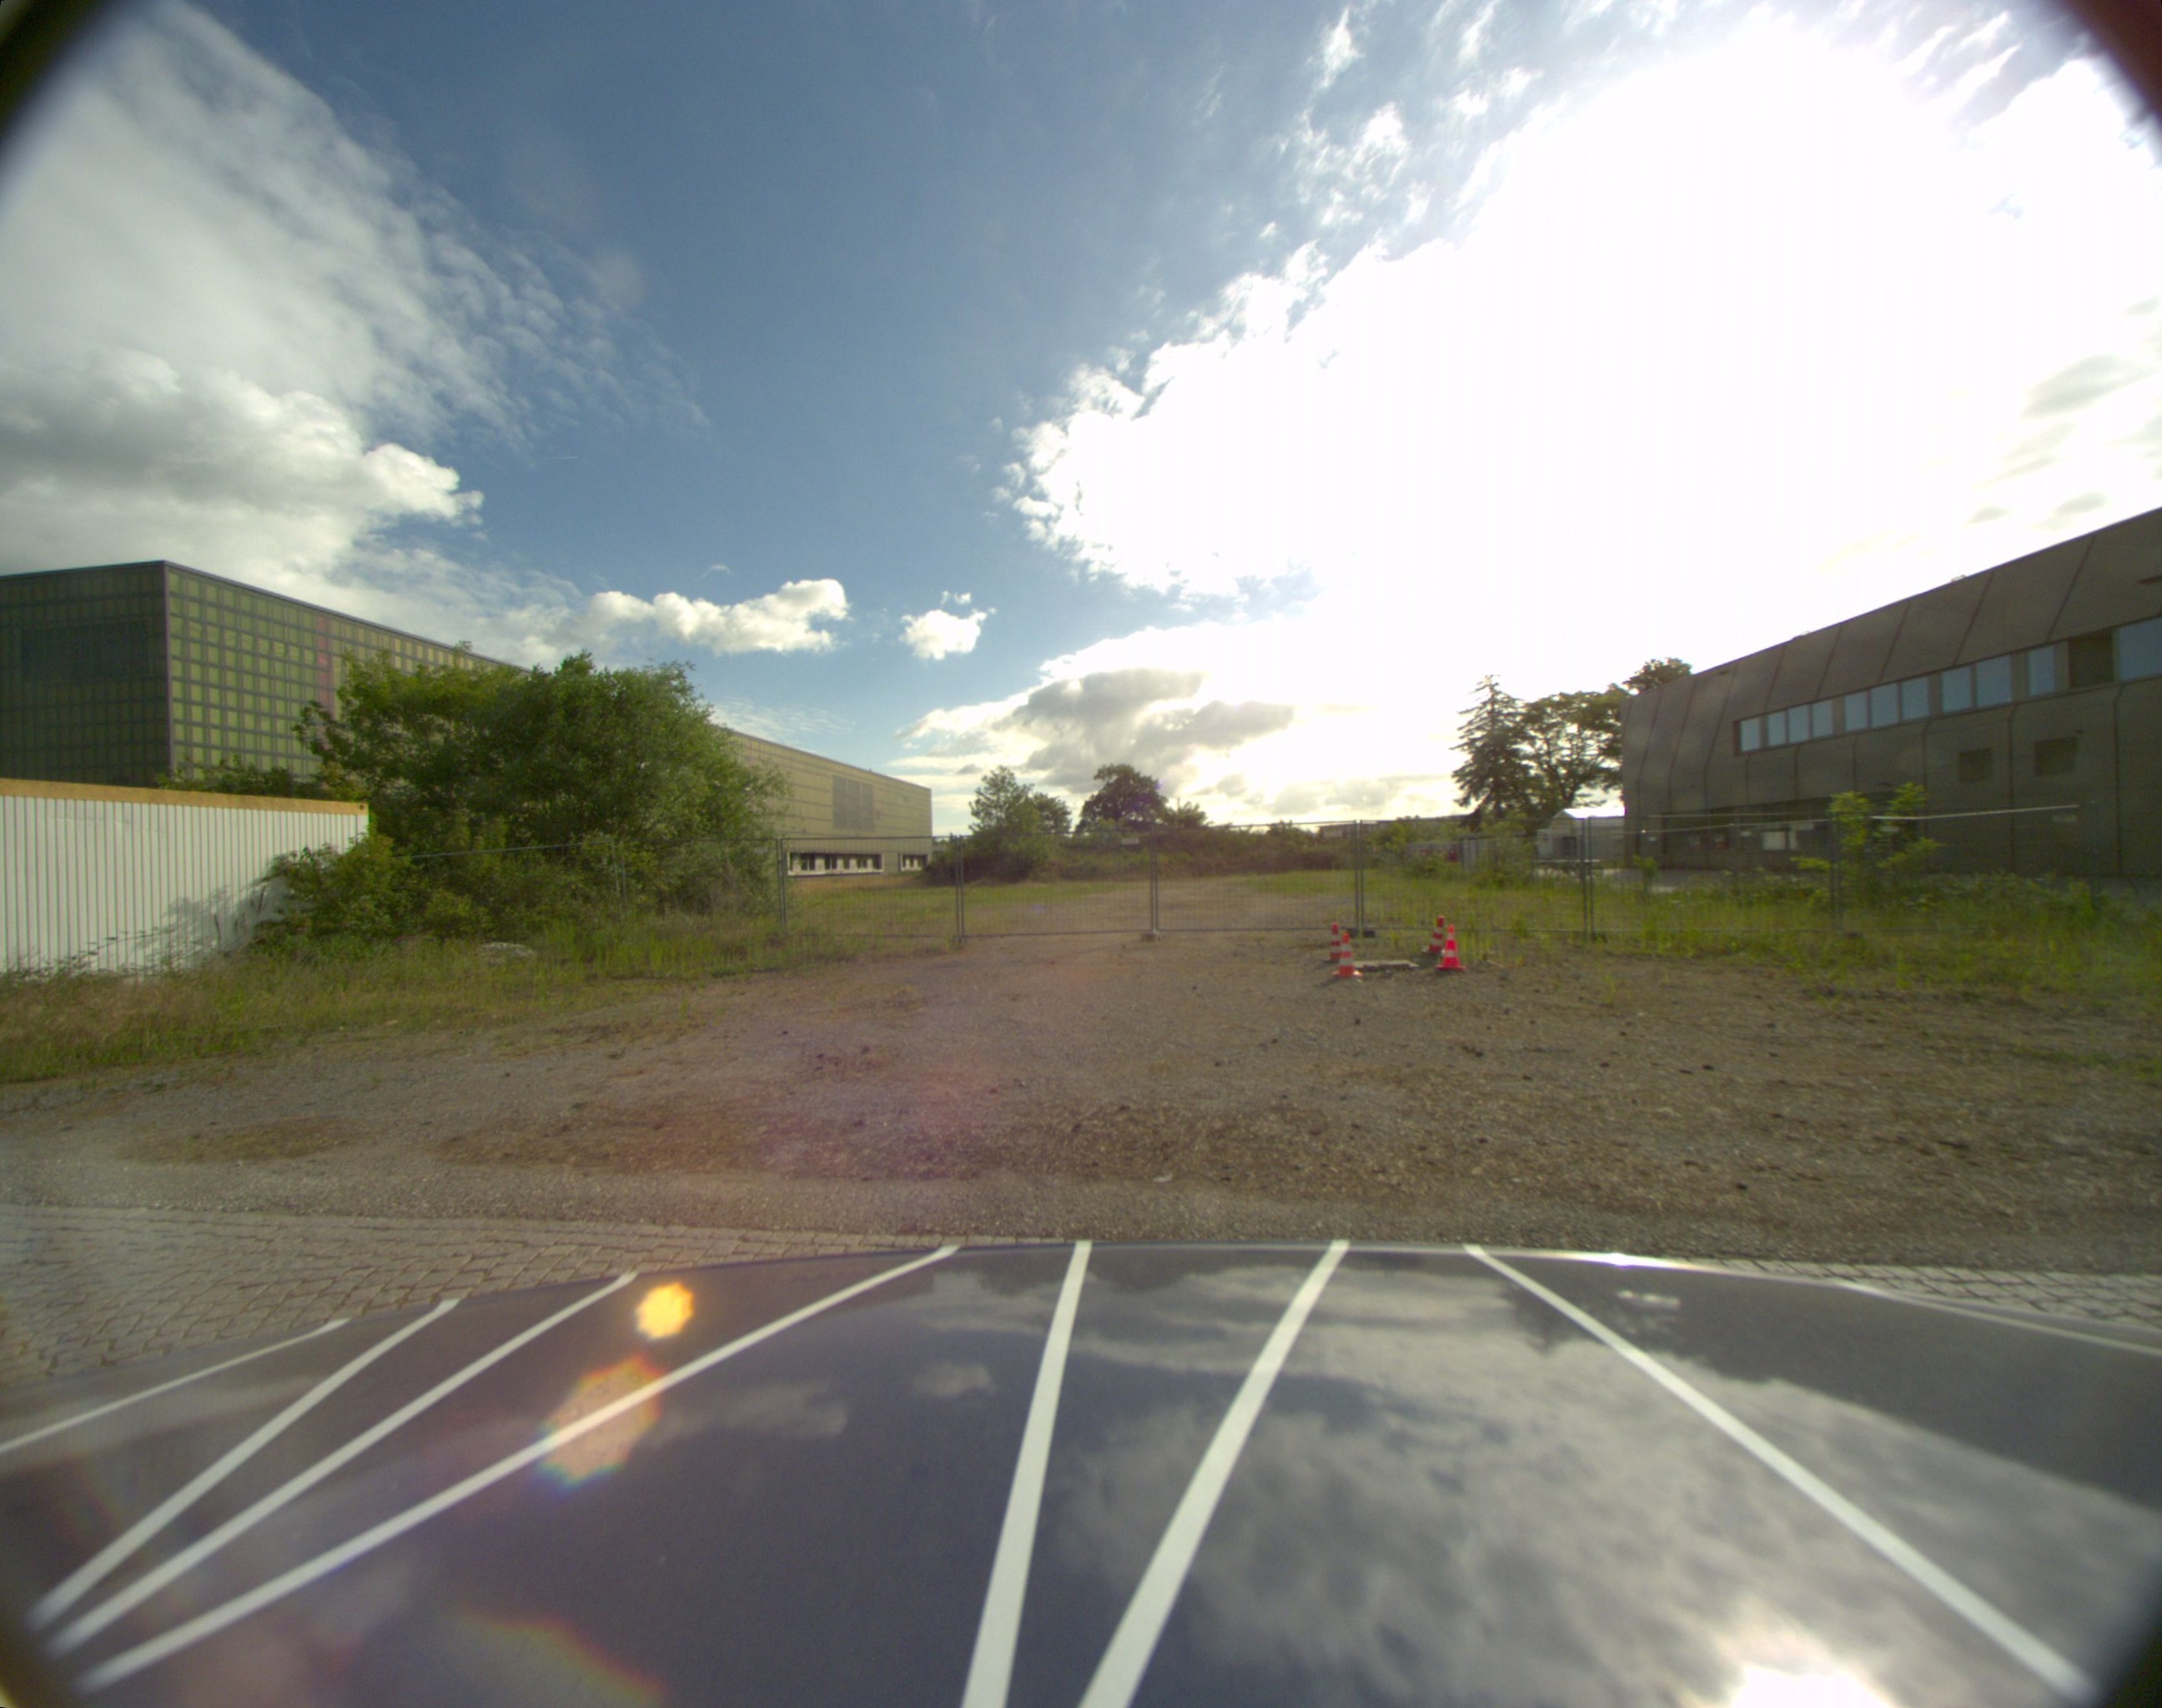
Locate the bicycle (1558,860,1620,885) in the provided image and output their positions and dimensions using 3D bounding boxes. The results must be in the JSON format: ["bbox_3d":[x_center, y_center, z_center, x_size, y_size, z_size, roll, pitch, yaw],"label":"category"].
[{"bbox_3d":[22.689,0.819,33.977,2.067,1.080,0.946,-2,0,5],"label":"bicycle"}]

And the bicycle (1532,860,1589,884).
[{"bbox_3d":[22.858,0.855,36.234,2.067,1.038,0.946,-2,0,5],"label":"bicycle"}]

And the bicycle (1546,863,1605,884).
[{"bbox_3d":[22.897,0.907,35.216,2.067,0.916,0.946,-2,0,5],"label":"bicycle"}]
